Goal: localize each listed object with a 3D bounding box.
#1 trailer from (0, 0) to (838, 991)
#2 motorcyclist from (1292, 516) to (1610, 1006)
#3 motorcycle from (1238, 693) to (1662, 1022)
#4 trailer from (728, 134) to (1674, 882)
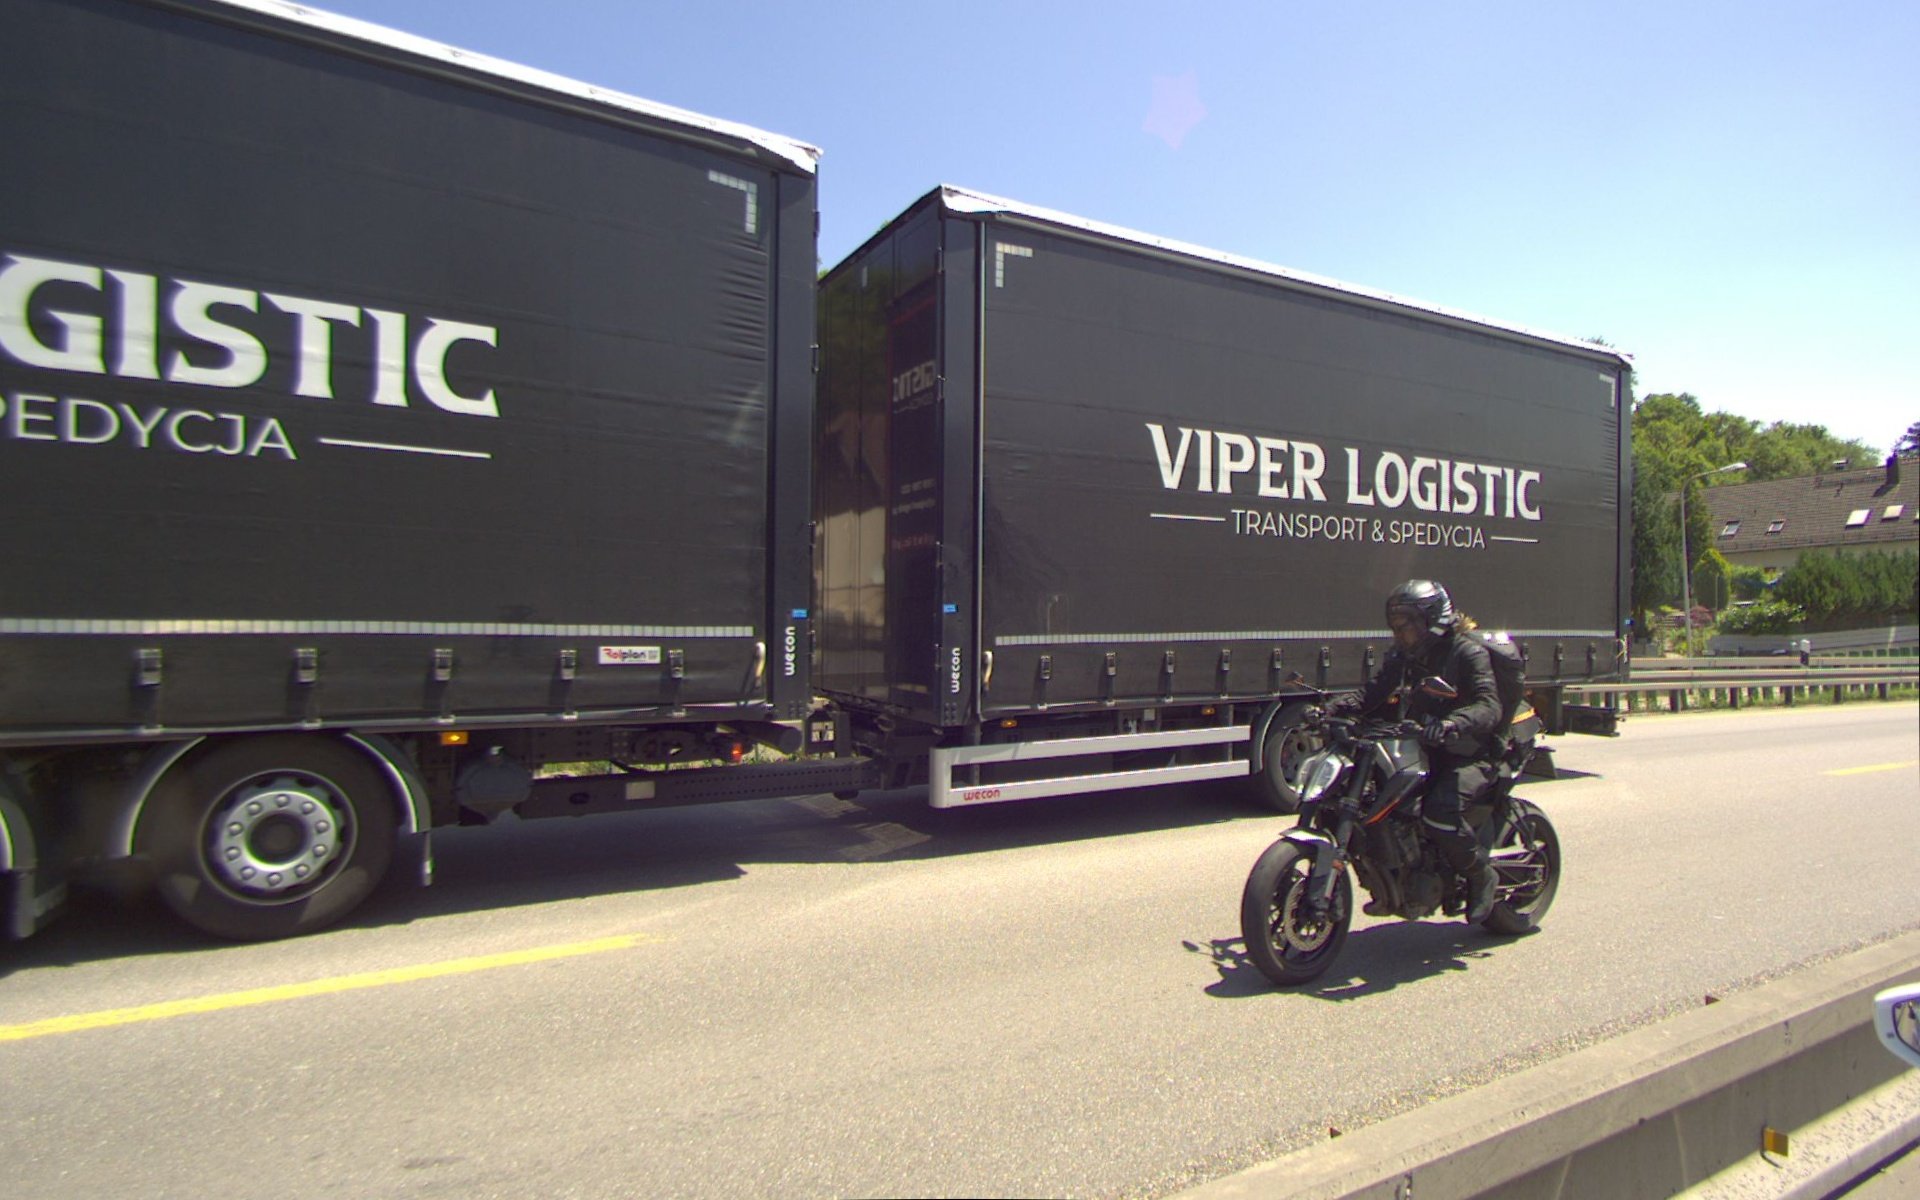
[{"bbox_3d":[-4.762,-0.611,4.642,7.913,4.125,2.744,1,0,-31],"label":"trailer"},{"bbox_3d":[2.158,0.624,4.462,0.972,1.879,0.849,1,0,-30],"label":"motorcyclist"},{"bbox_3d":[2.229,1.023,4.514,1.890,1.094,0.782,1,0,-30],"label":"motorcycle"},{"bbox_3d":[2.545,-0.465,8.860,8.530,4.125,2.745,1,0,-30],"label":"trailer"}]
